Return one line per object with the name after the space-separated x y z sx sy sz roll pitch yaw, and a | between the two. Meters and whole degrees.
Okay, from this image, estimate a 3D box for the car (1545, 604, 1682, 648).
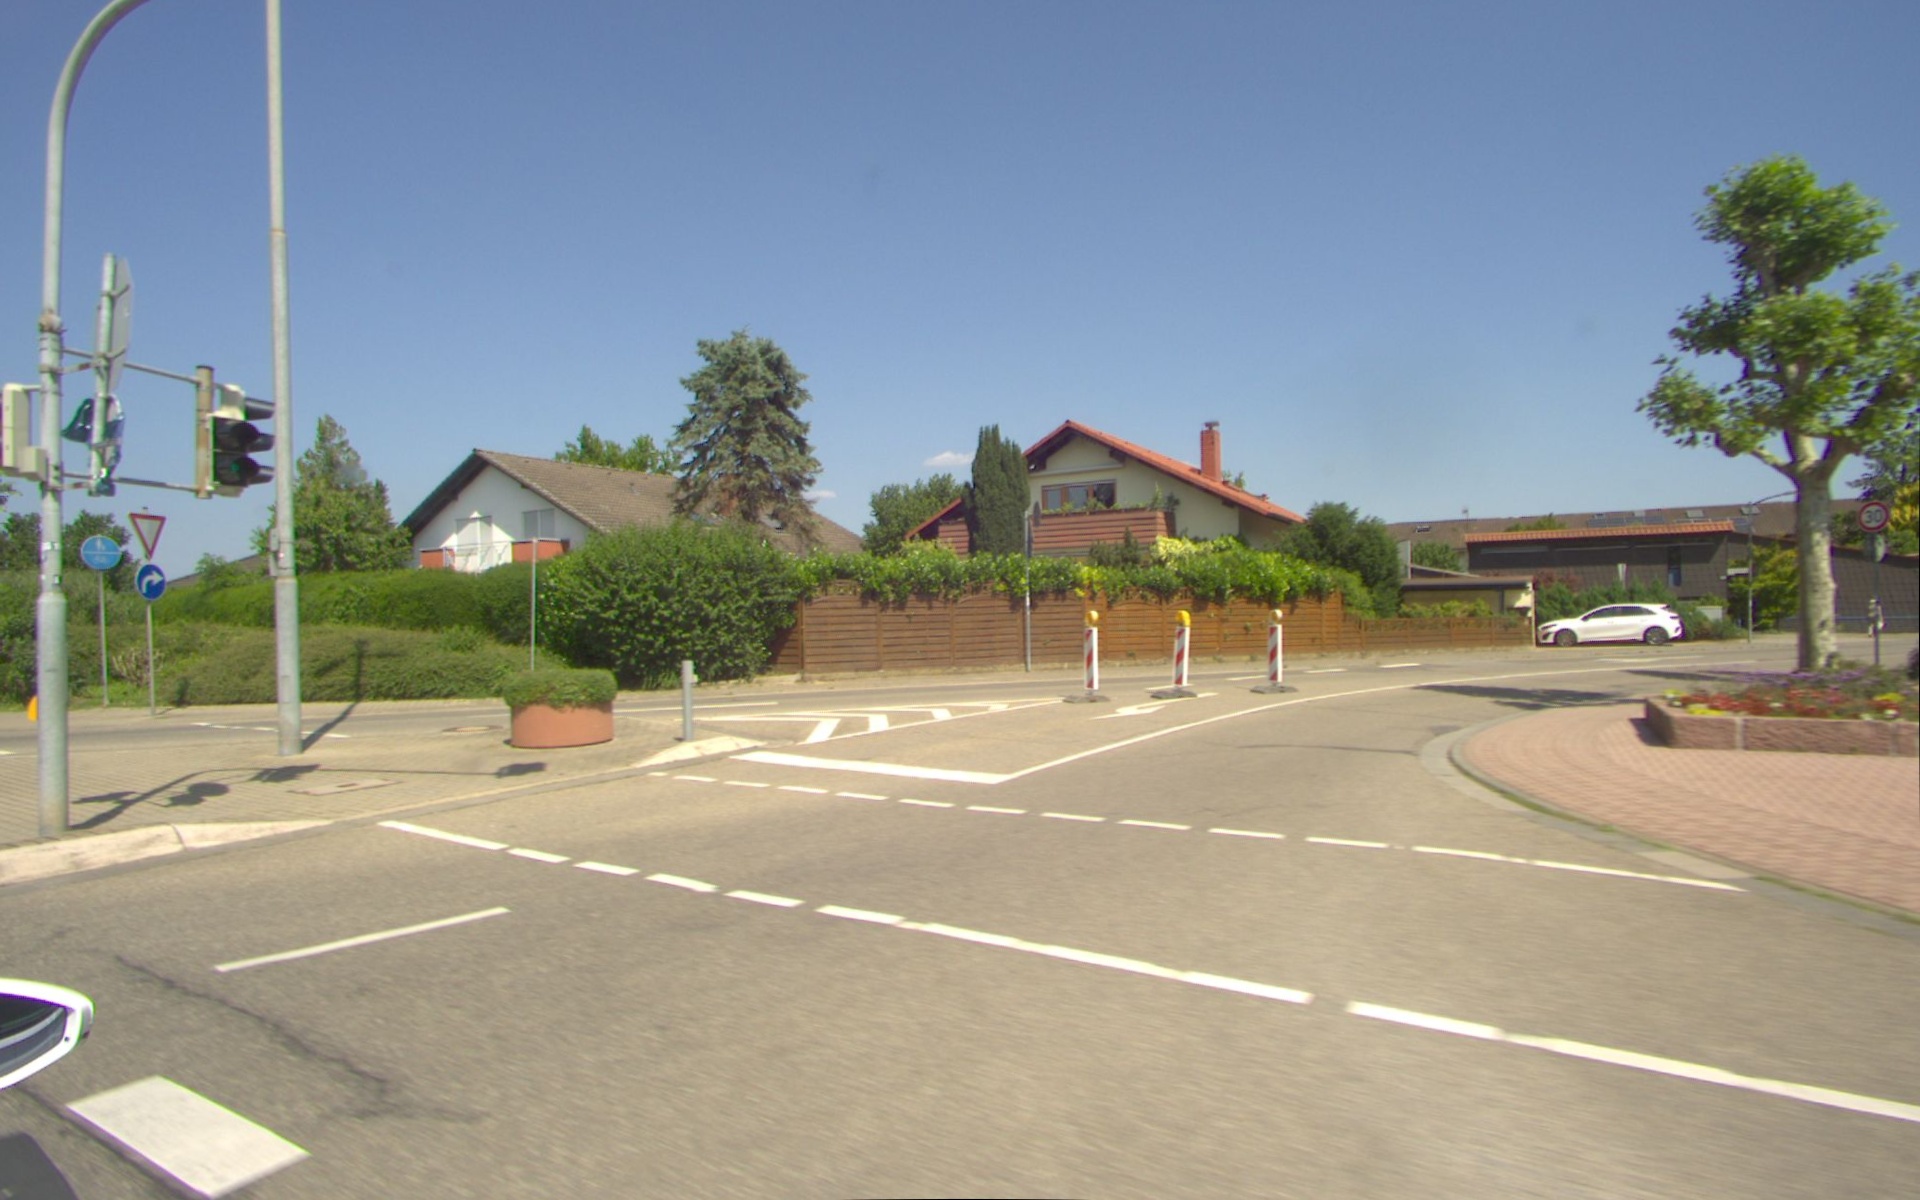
22.644 0.895 34.865 3.926 1.450 1.417 -1 0 32 | car

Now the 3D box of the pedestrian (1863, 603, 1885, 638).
35.375 0.782 38.757 0.425 1.332 0.539 -1 0 -35 | pedestrian
